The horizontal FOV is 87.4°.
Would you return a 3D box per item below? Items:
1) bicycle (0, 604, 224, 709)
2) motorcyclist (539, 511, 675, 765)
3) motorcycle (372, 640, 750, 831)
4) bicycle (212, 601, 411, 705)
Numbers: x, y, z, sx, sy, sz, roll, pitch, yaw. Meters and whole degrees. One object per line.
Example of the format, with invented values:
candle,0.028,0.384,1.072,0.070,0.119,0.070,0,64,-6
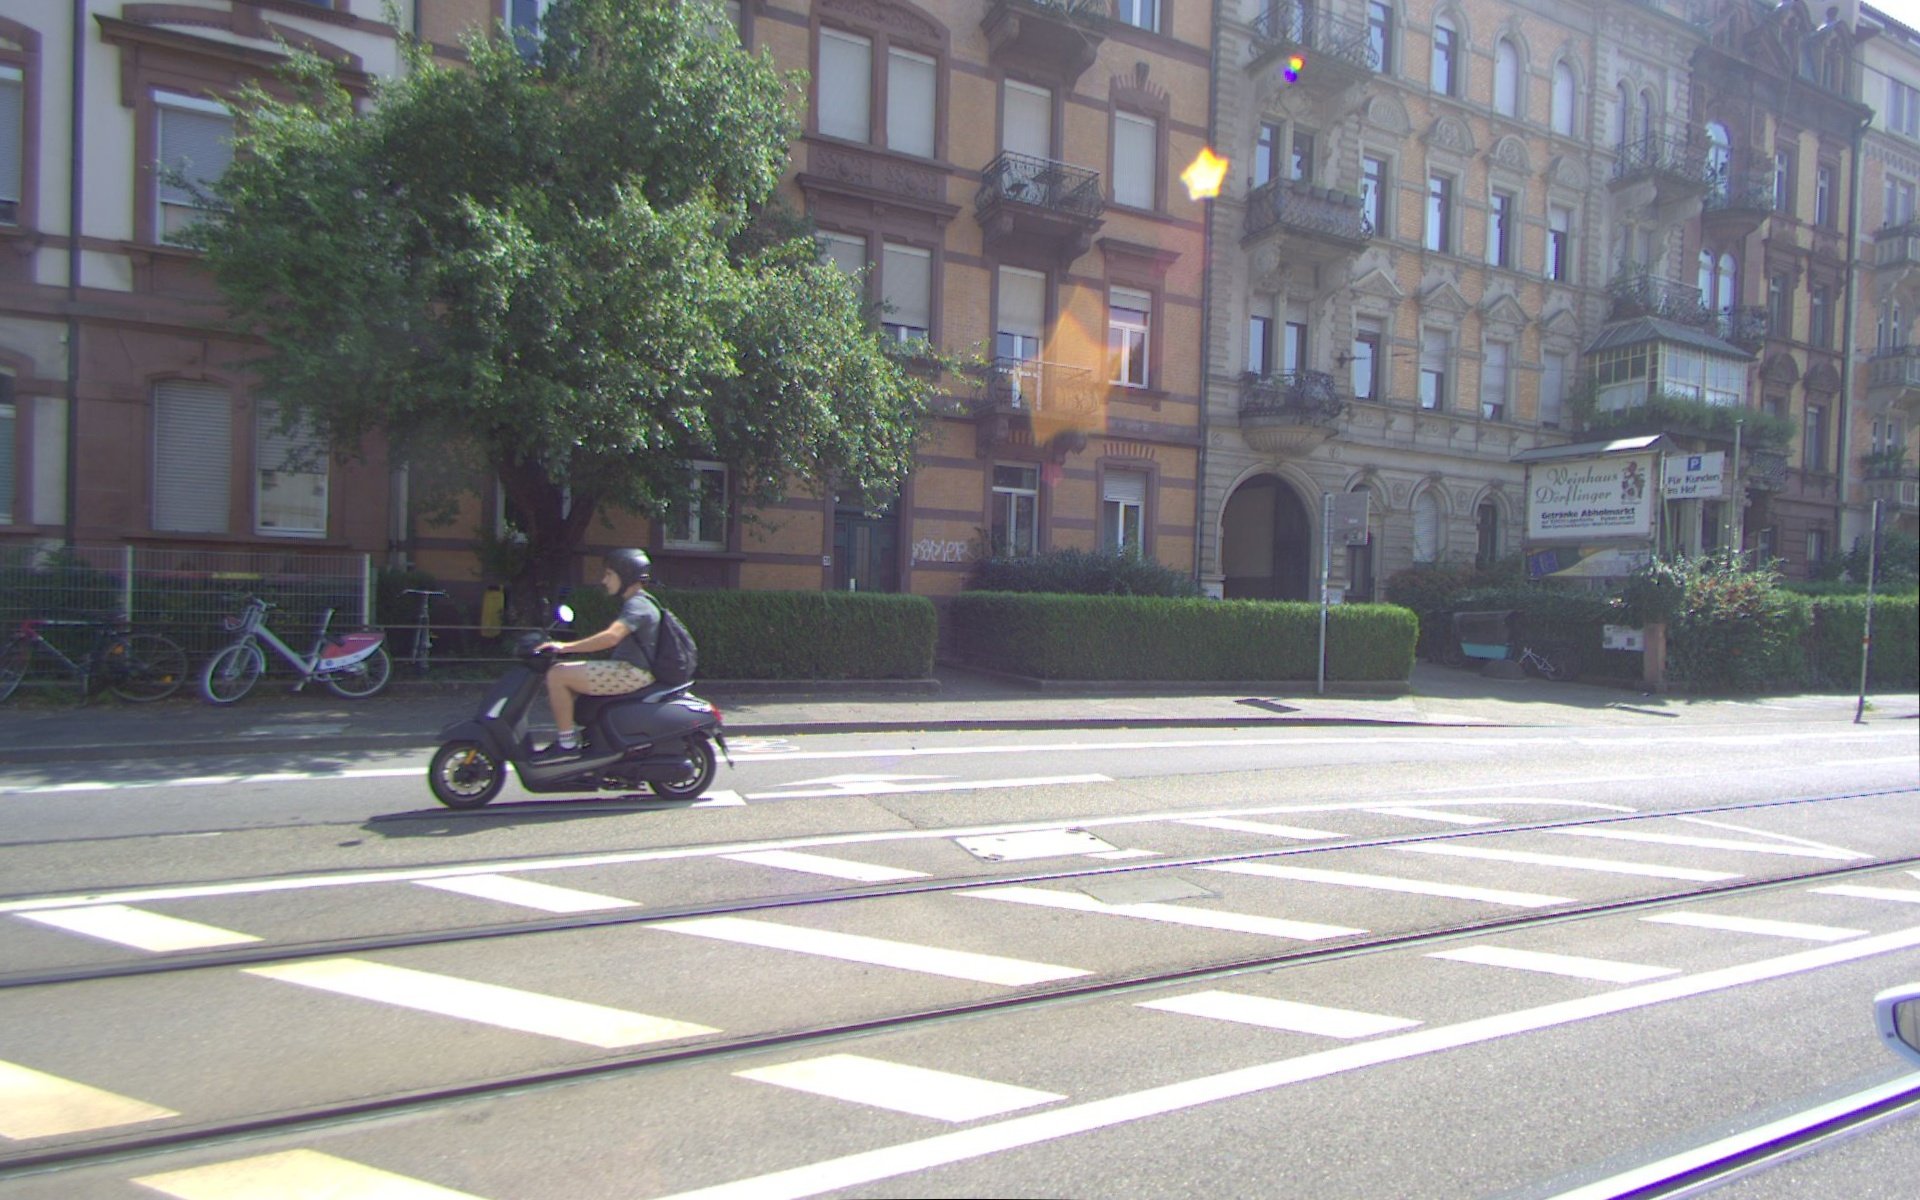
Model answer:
bicycle,-8.217,0.534,9.760,1.632,0.954,0.486,1,1,-22
motorcyclist,-2.302,0.233,6.517,0.762,1.532,0.687,1,1,-23
motorcycle,-2.490,0.804,6.450,2.127,1.045,0.689,1,1,-24
bicycle,-6.618,0.532,10.328,1.632,0.999,0.486,1,1,-22
